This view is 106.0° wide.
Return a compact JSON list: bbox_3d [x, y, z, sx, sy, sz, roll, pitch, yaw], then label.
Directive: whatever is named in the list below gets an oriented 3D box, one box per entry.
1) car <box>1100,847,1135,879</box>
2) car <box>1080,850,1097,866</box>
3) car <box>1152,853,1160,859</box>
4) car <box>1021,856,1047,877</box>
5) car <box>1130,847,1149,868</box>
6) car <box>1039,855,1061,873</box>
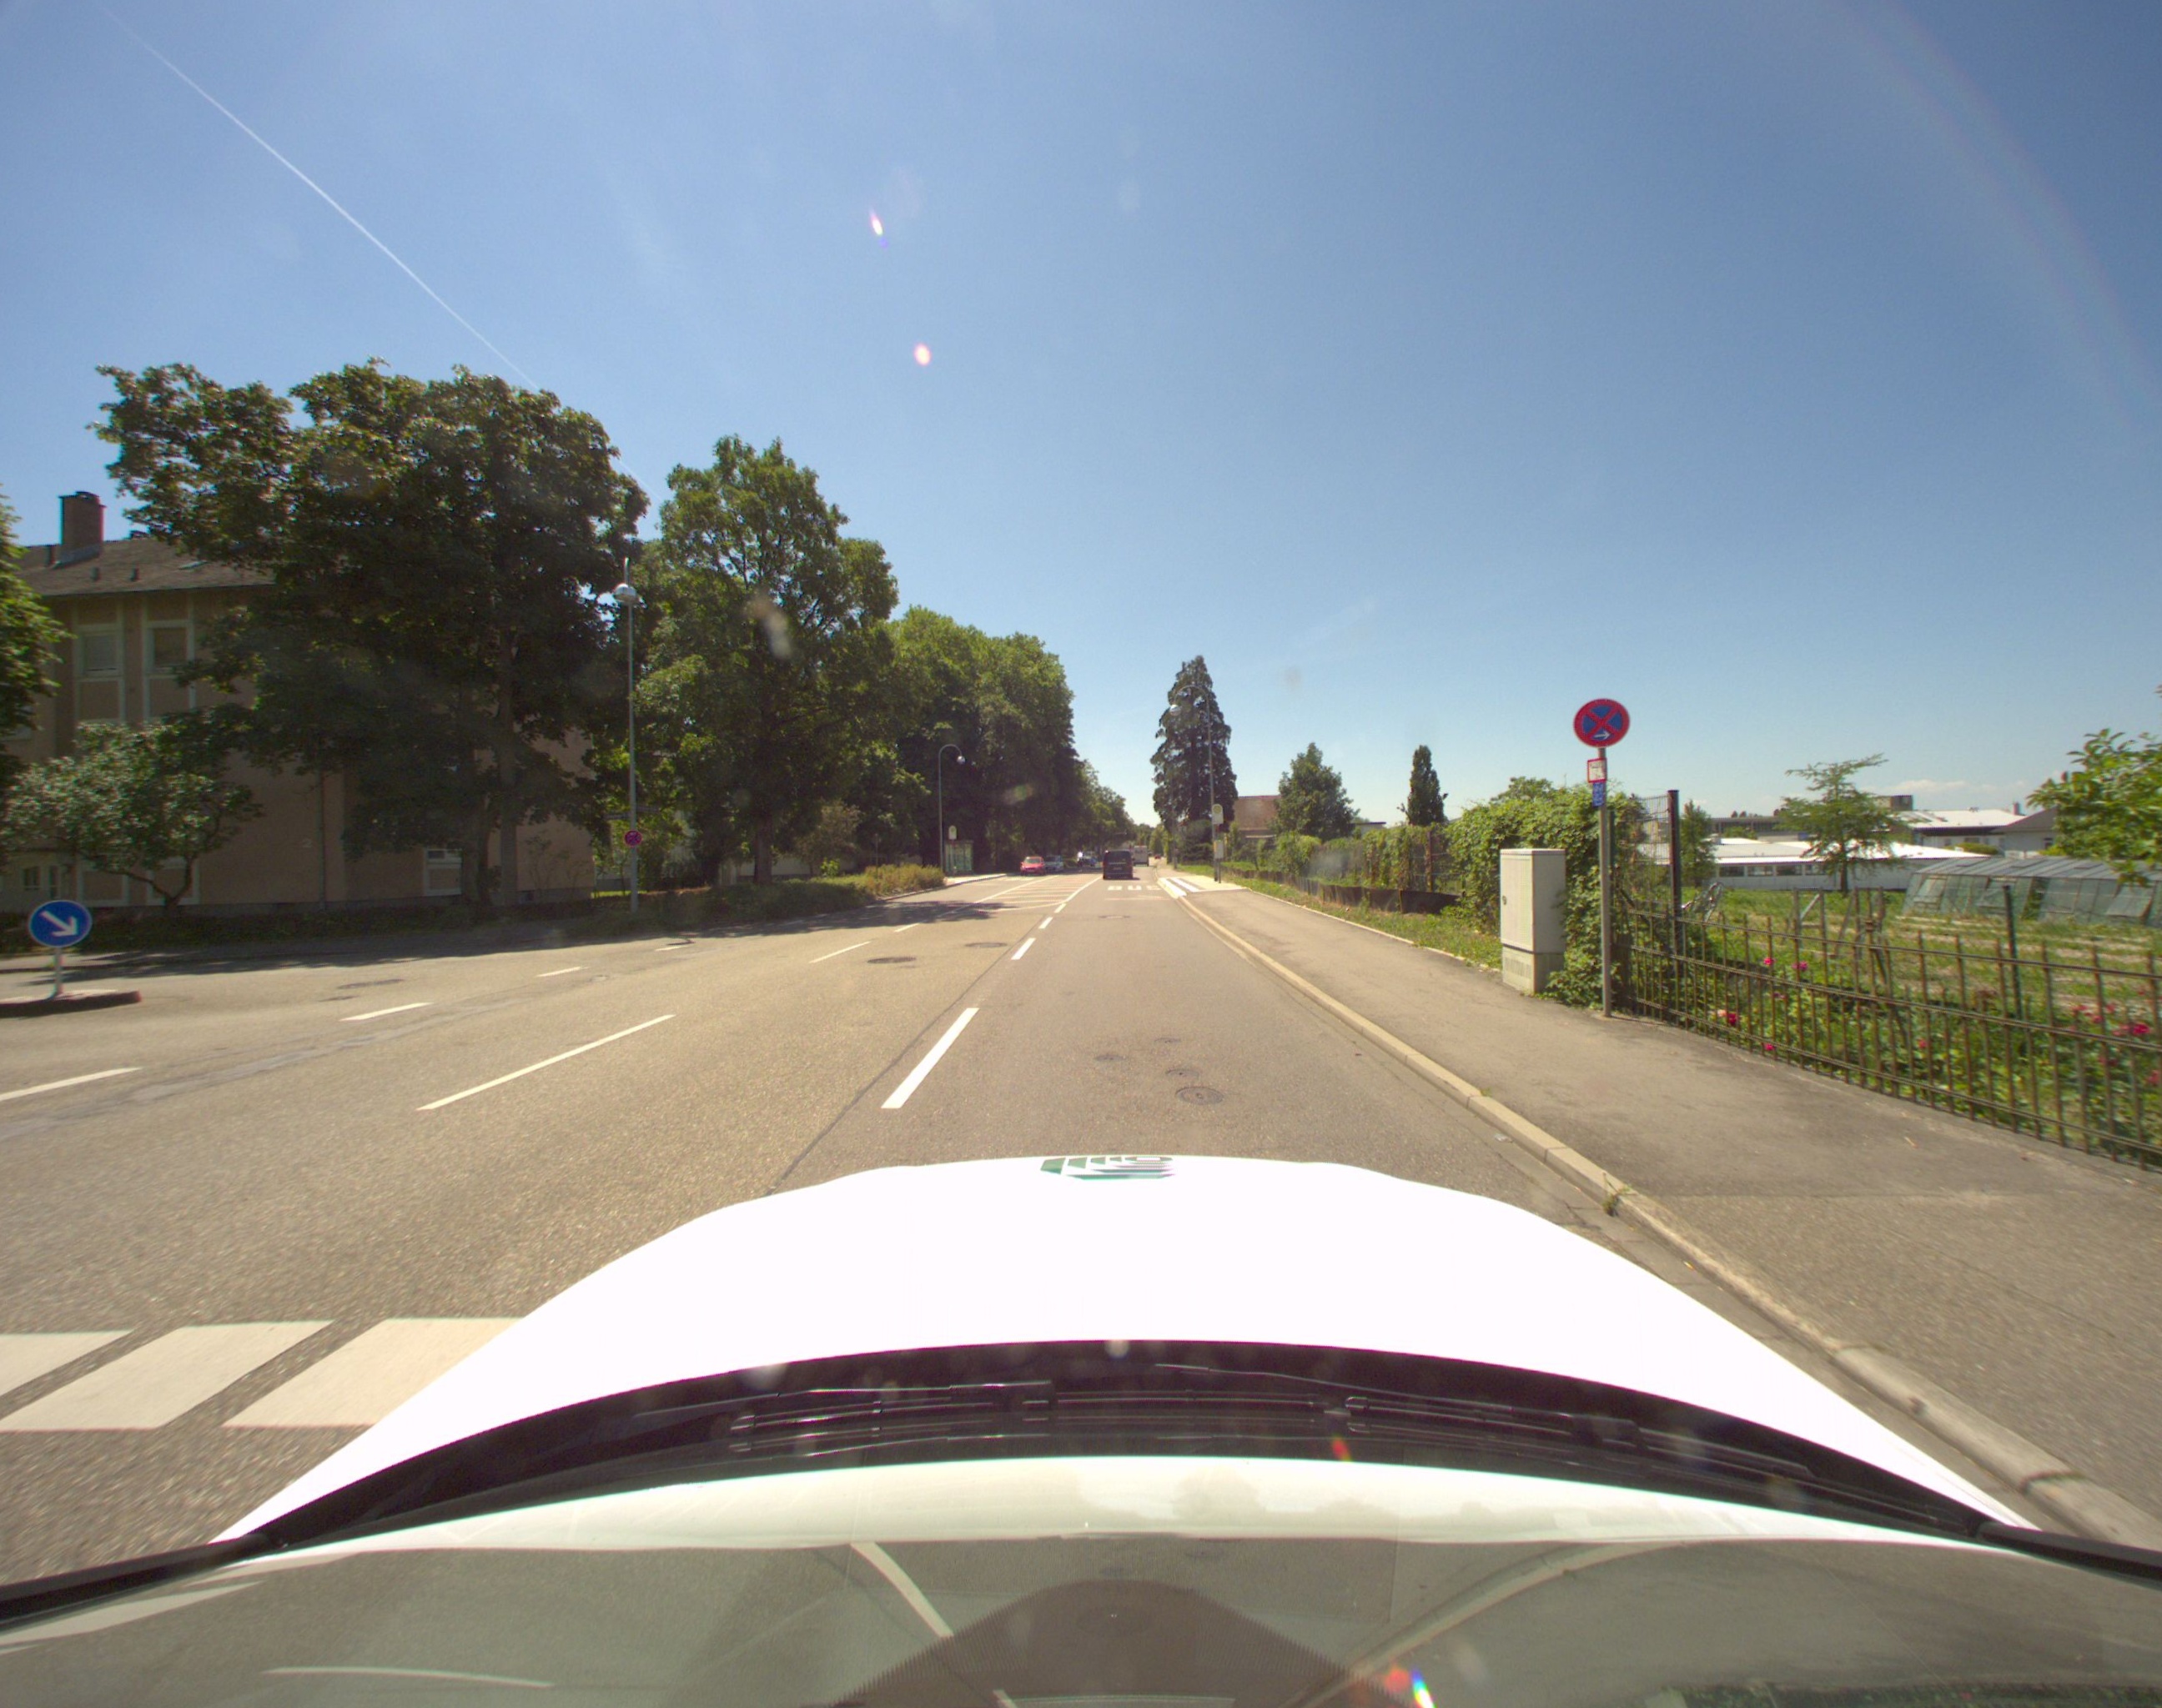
[{"bbox_3d":[2.251,0.552,51.172,1.988,1.893,3.998,0,1,-1],"label":"car"},{"bbox_3d":[0.928,0.491,102.924,1.987,1.909,4.989,0,1,-1],"label":"car"},{"bbox_3d":[20.908,0.651,226.547,1.850,1.643,4.002,0,1,2],"label":"car"},{"bbox_3d":[-3.469,0.898,60.529,1.544,1.450,3.693,0,0,3],"label":"car"},{"bbox_3d":[7.573,0.432,106.047,2.113,2.677,5.661,0,1,0],"label":"car"},{"bbox_3d":[-2.690,0.836,70.410,1.689,1.460,3.632,0,1,-6],"label":"car"}]
